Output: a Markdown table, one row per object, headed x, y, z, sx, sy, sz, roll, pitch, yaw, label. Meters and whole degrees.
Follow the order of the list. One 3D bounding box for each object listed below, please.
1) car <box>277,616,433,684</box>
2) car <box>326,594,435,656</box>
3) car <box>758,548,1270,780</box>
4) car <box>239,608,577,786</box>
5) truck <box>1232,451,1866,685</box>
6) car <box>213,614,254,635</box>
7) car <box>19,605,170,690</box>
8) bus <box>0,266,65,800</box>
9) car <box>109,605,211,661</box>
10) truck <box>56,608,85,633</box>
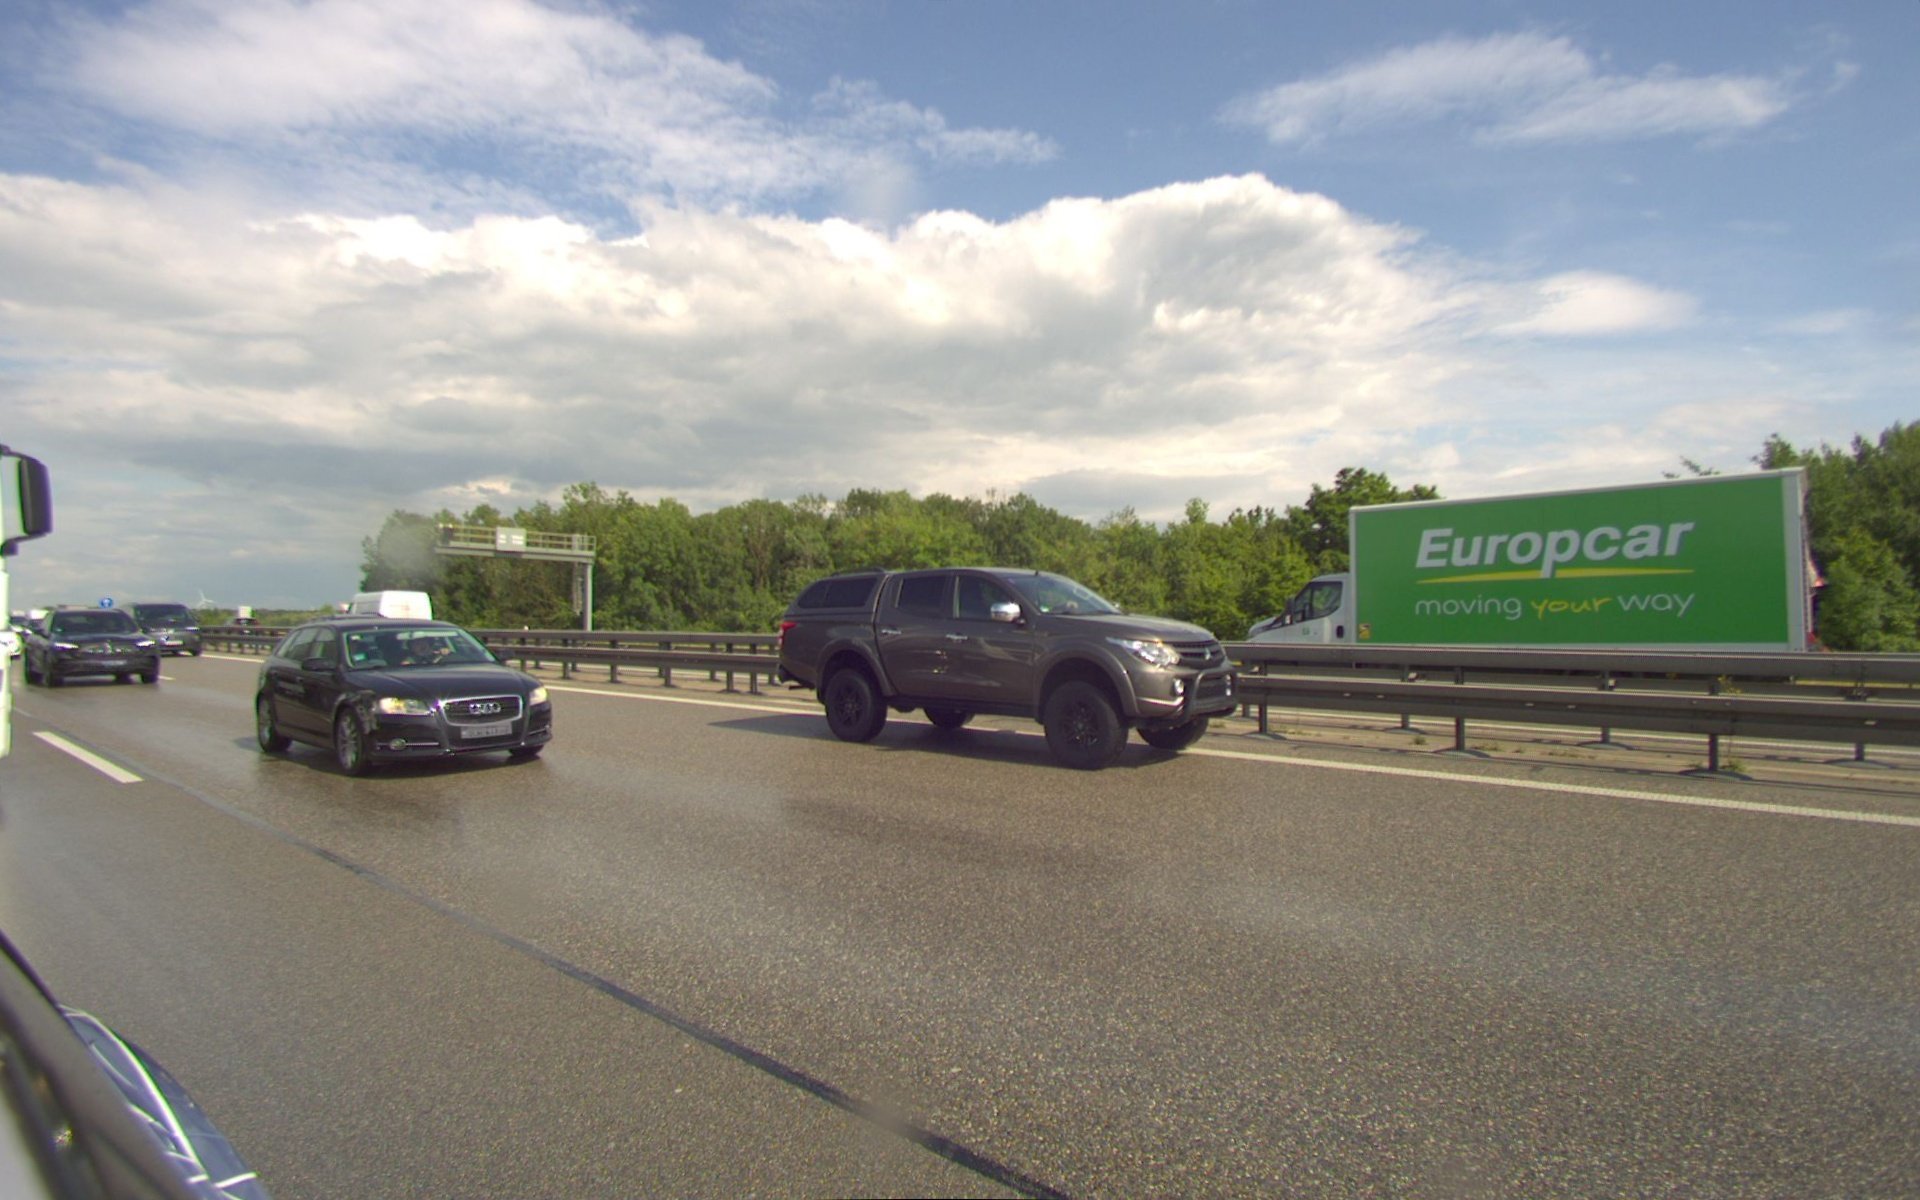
| x | y | z | sx | sy | sz | roll | pitch | yaw | label |
| --- | --- | --- | --- | --- | --- | --- | --- | --- | --- |
| -14.280 | 1.114 | 23.788 | 4.370 | 1.435 | 1.900 | -1 | -1 | 41 | car |
| -24.222 | 1.014 | 42.196 | 6.100 | 2.414 | 2.091 | -1 | -1 | 41 | car |
| 0.277 | 0.555 | 10.580 | 5.416 | 1.858 | 1.787 | -1 | -1 | 42 | car |
| -5.737 | 0.838 | 10.308 | 4.052 | 1.444 | 1.732 | -1 | -1 | 41 | car |
| 9.268 | -0.379 | 16.969 | 8.717 | 3.009 | 2.886 | -1 | 0 | 41 | truck |
| -52.446 | 1.780 | 73.037 | 3.635 | 1.444 | 1.731 | -1 | -1 | 44 | car |
| -19.213 | 0.982 | 22.399 | 4.623 | 1.692 | 1.857 | -1 | -1 | 41 | car |
| -11.854 | -0.437 | 10.331 | 9.841 | 4.159 | 2.867 | -1 | -1 | 41 | bus |
| -29.395 | 1.170 | 37.129 | 5.233 | 1.932 | 1.973 | -1 | -1 | 41 | car |
| -143.589 | 3.303 | 163.265 | 8.920 | 3.913 | 2.762 | -1 | -1 | 44 | truck |
